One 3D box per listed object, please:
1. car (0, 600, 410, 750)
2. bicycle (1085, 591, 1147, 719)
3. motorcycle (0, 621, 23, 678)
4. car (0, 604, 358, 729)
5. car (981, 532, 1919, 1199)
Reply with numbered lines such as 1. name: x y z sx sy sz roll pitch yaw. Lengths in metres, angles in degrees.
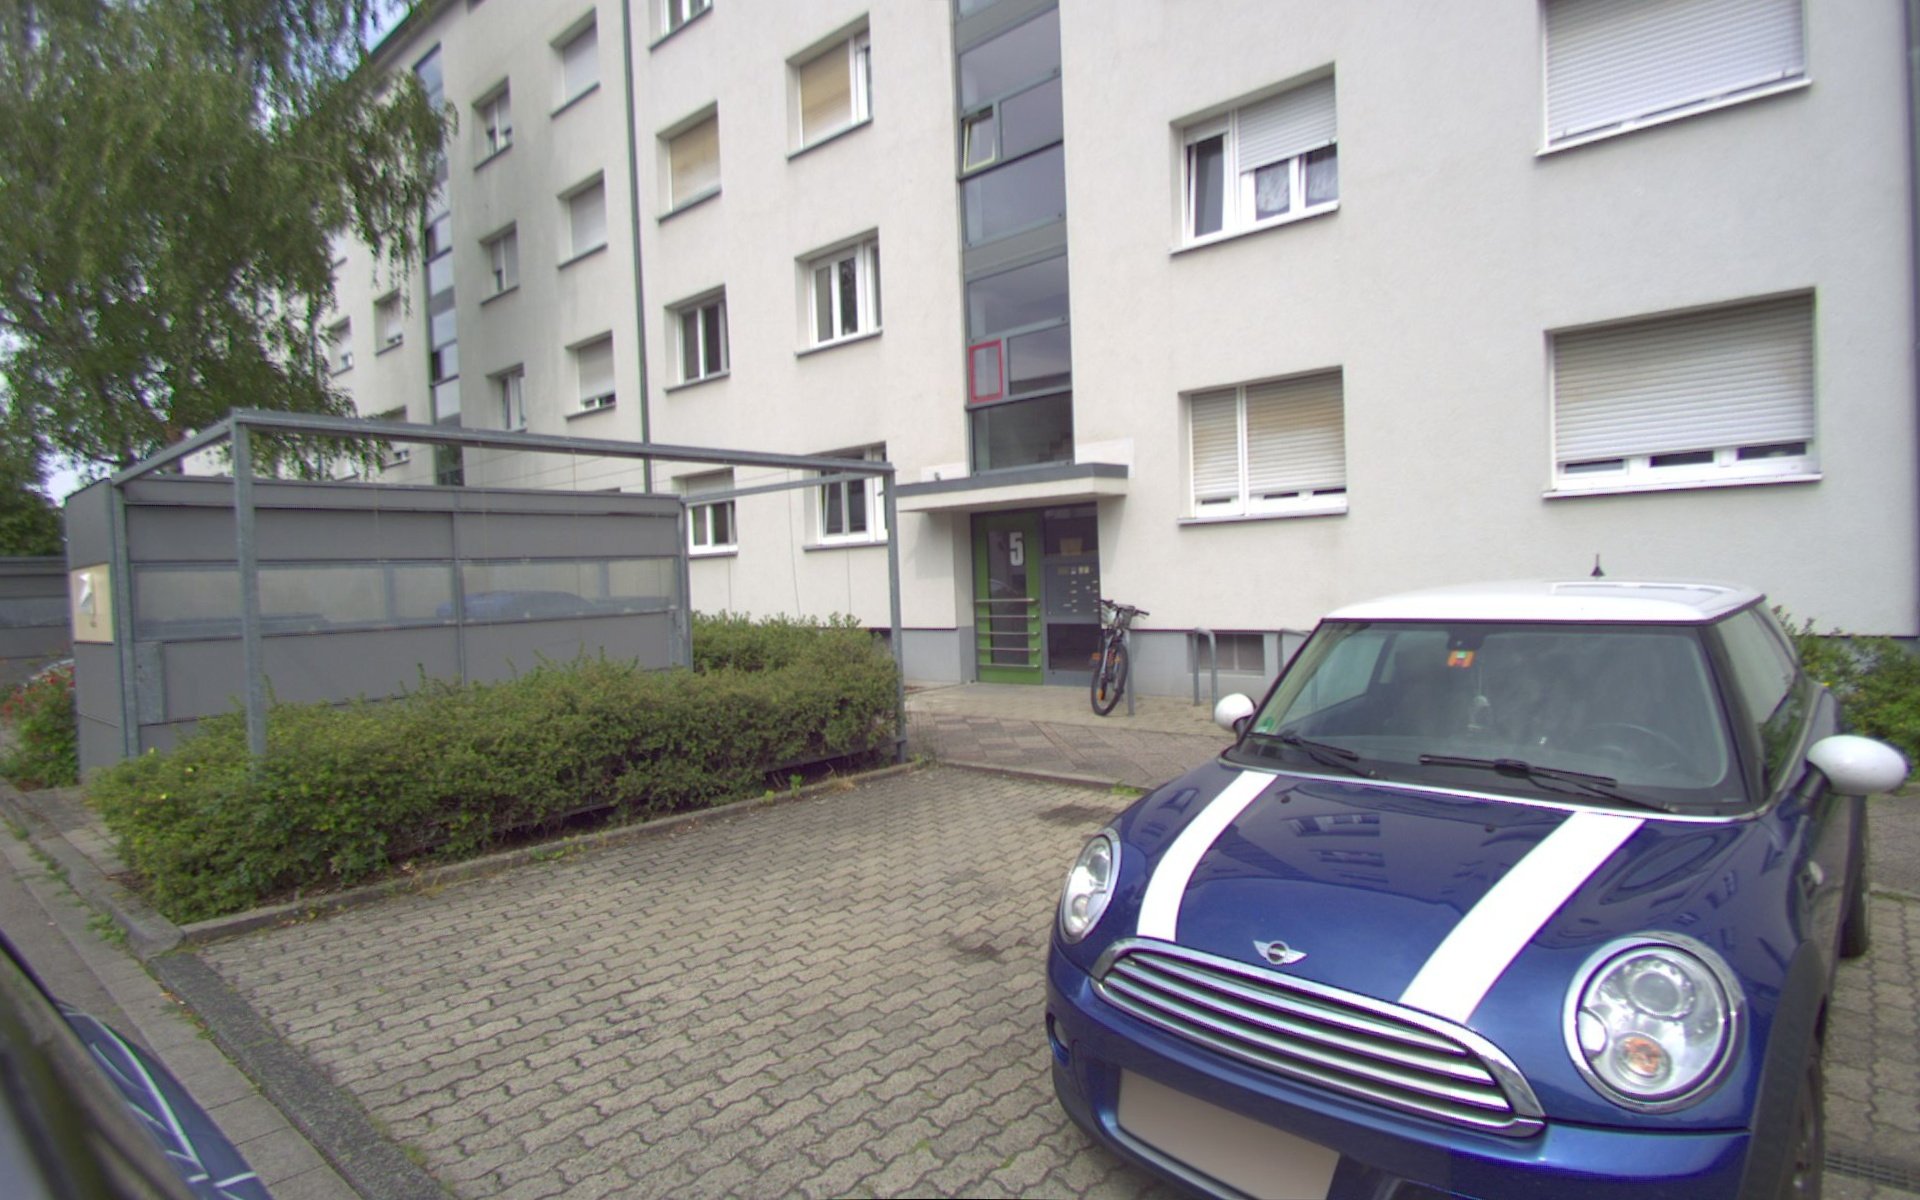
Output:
1. car: -9.621 0.829 13.096 1.781 1.516 4.010 -1 1 41
2. bicycle: 1.525 0.500 10.051 0.475 1.161 1.538 -2 0 5
3. motorcycle: -25.915 1.315 26.203 0.713 1.475 2.352 -1 -1 41
4. car: -11.668 0.892 15.322 1.781 1.516 4.010 -1 1 41
5. car: 1.916 0.573 3.139 1.653 1.472 3.594 -1 2 44
